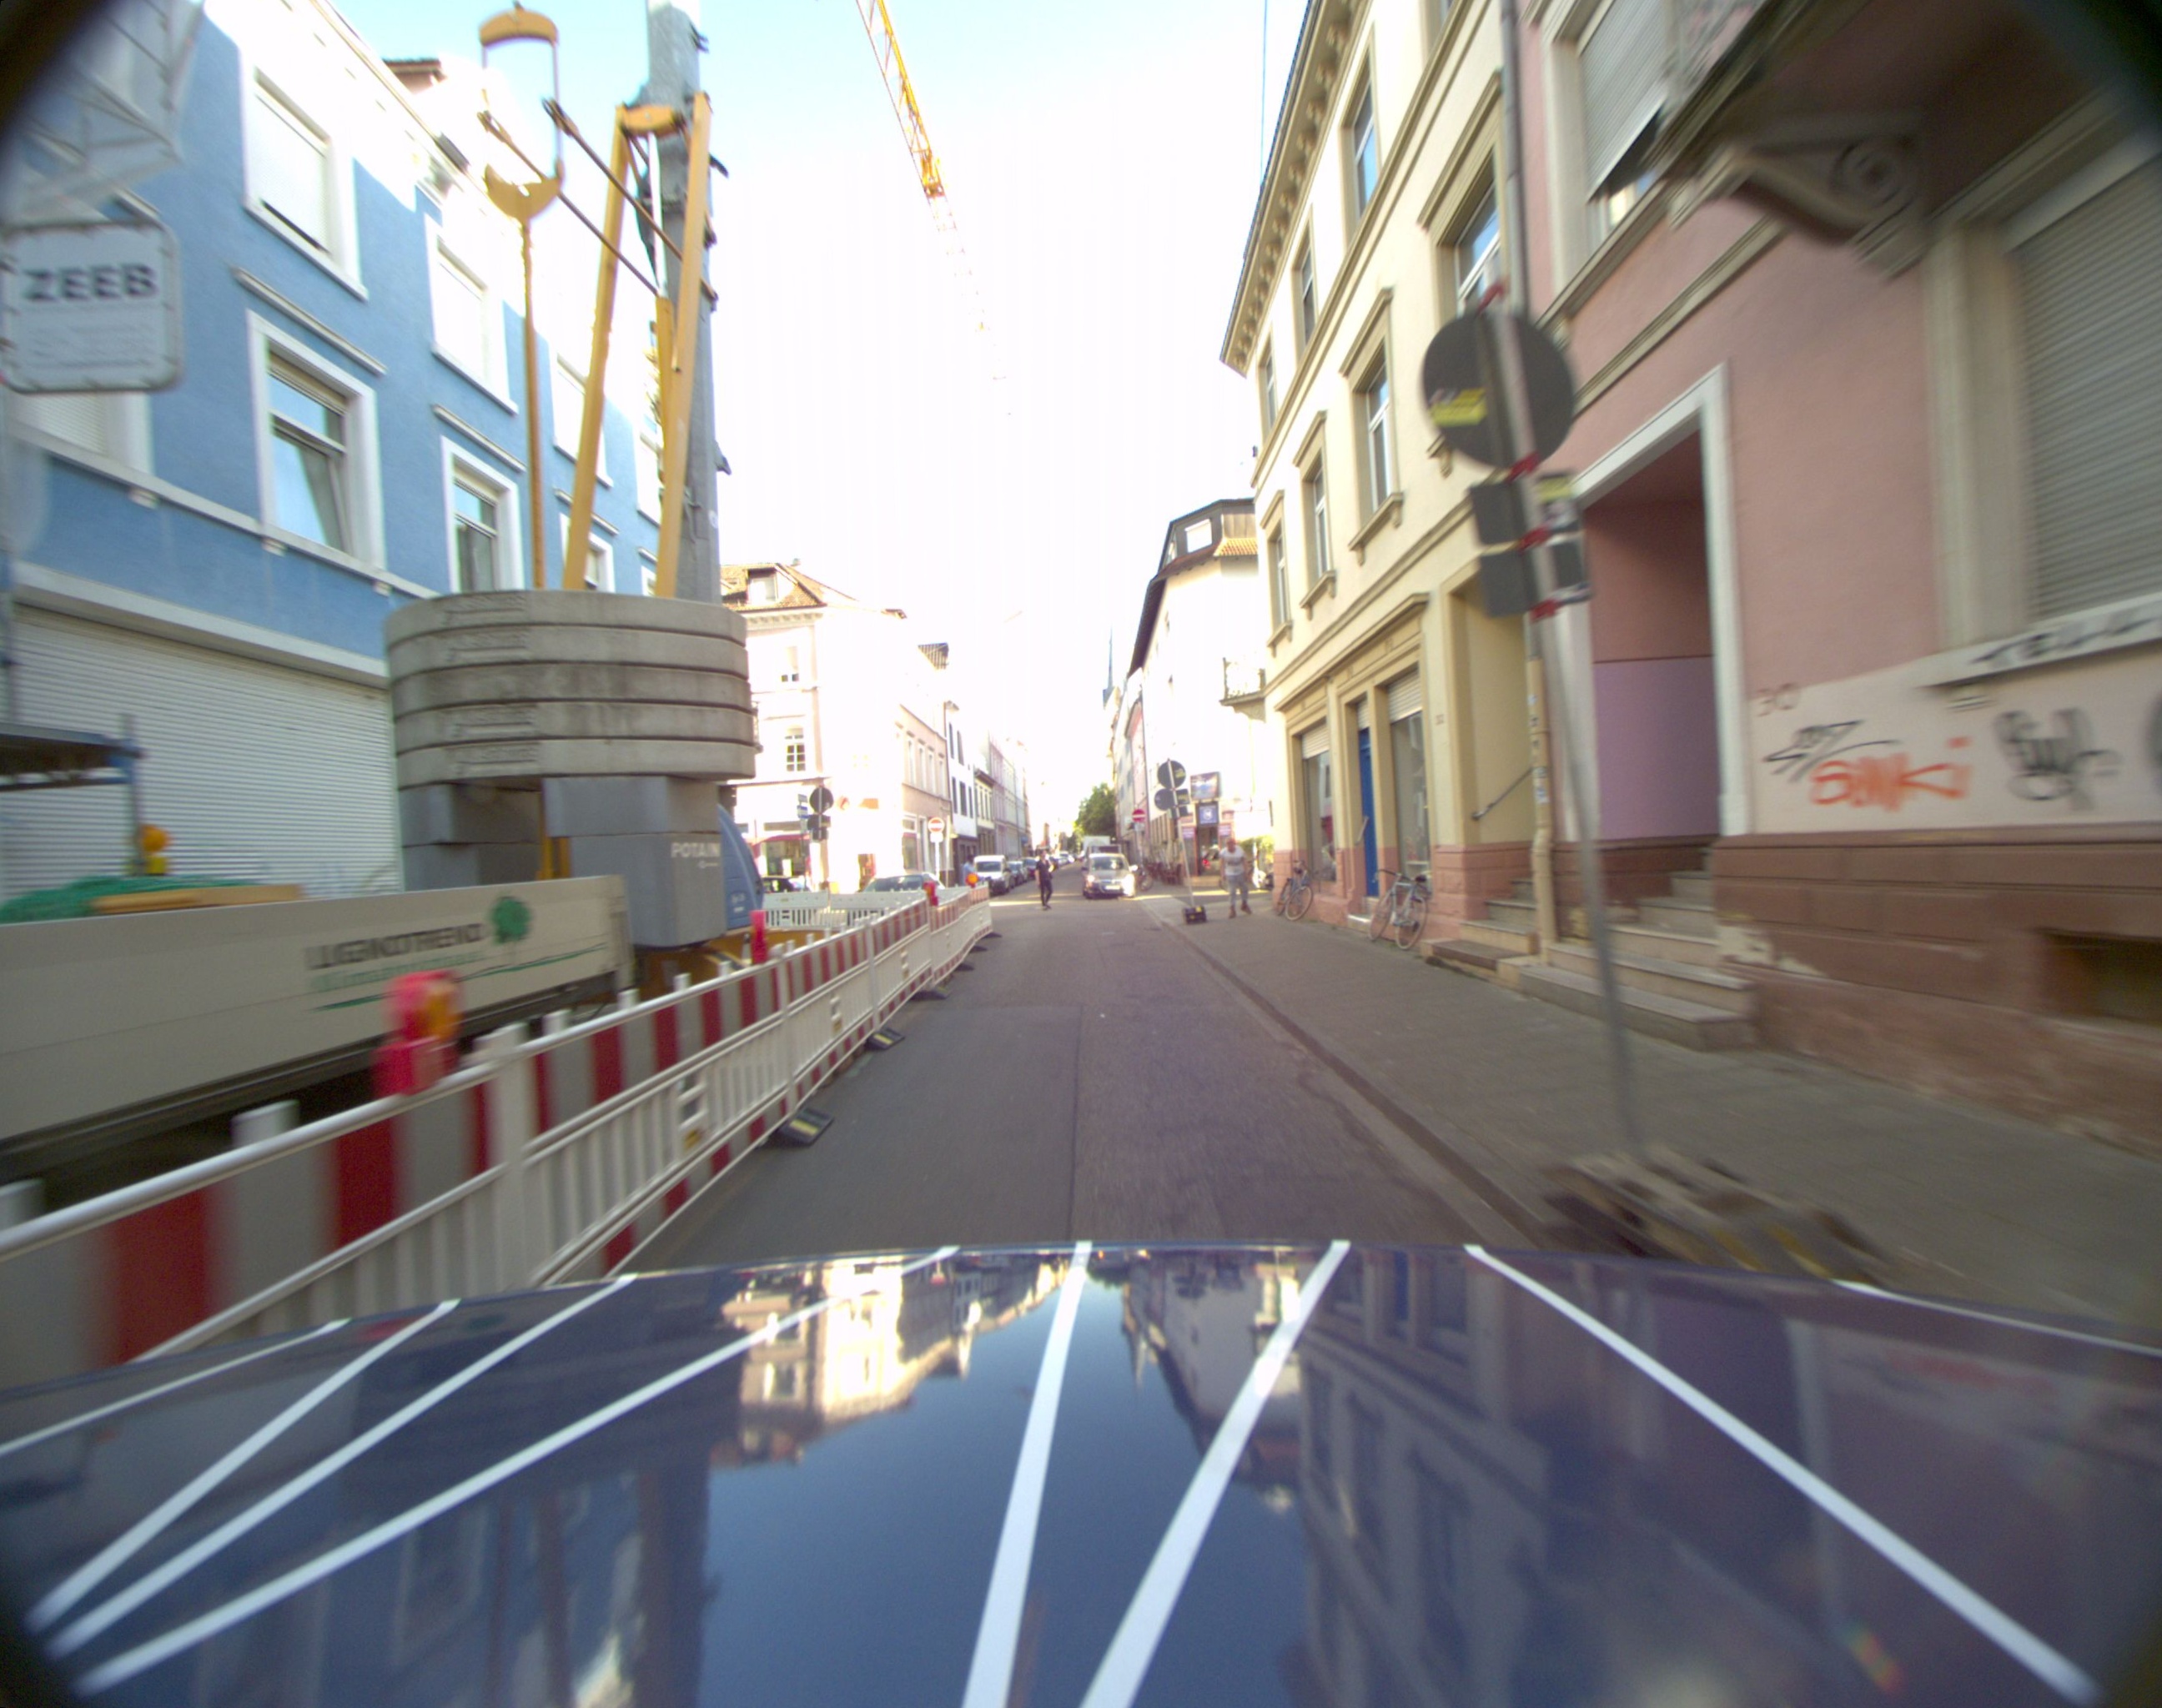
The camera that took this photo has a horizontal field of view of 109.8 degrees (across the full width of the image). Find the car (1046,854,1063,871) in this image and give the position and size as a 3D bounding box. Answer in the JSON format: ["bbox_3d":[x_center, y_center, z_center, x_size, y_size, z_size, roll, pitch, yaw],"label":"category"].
[{"bbox_3d":[-3.516,1.085,99.884,1.999,2.002,4.563,-5,1,-2],"label":"car"}]

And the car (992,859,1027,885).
[{"bbox_3d":[-4.352,1.089,46.902,1.736,1.388,3.881,-2,1,0],"label":"car"}]

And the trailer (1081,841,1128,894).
[{"bbox_3d":[0.930,0.529,32.299,1.666,2.049,4.362,-2,1,-2],"label":"trailer"}]

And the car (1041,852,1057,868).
[{"bbox_3d":[-3.841,0.677,91.106,1.713,1.802,4.220,-2,1,0],"label":"car"}]

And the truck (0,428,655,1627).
[{"bbox_3d":[-3.901,0.469,0.558,2.668,2.798,7.392,-5,1,1],"label":"truck"}]

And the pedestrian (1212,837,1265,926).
[{"bbox_3d":[3.200,0.554,15.506,0.695,1.691,0.865,-8,-1,1],"label":"pedestrian"}]

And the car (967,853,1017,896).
[{"bbox_3d":[-4.133,0.926,35.968,1.753,1.806,4.369,-2,1,0],"label":"car"}]

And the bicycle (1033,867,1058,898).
[{"bbox_3d":[-1.385,1.099,29.868,0.710,1.105,1.935,-3,0,3],"label":"bicycle"}]

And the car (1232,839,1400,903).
[{"bbox_3d":[6.587,0.466,21.568,4.150,1.447,1.758,-4,0,-2],"label":"car"}]

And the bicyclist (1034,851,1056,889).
[{"bbox_3d":[-1.405,0.627,29.846,0.710,1.427,0.790,-3,1,3],"label":"bicyclist"}]

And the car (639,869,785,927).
[{"bbox_3d":[-12.888,1.519,26.727,4.069,1.623,1.855,-4,3,1],"label":"car"}]

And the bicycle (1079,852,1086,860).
[{"bbox_3d":[0.283,0.483,163.049,1.020,1.641,3.546,-5,1,-4],"label":"bicycle"}]

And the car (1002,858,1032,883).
[{"bbox_3d":[-4.319,1.074,51.498,1.620,1.495,3.772,-2,1,0],"label":"car"}]

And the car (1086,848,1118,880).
[{"bbox_3d":[1.272,0.597,47.827,1.807,1.834,4.243,-3,1,0],"label":"car"}]

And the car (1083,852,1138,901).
[{"bbox_3d":[1.003,0.763,27.808,1.726,1.596,4.166,-2,0,-1],"label":"car"}]

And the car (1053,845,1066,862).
[{"bbox_3d":[-3.722,-0.092,130.080,1.999,2.777,4.562,-5,1,-3],"label":"car"}]

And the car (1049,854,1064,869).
[{"bbox_3d":[-3.588,1.056,112.546,1.999,2.002,4.562,-5,1,-3],"label":"car"}]

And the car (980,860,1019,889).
[{"bbox_3d":[-4.346,1.080,41.023,1.613,1.400,3.881,-2,1,0],"label":"car"}]

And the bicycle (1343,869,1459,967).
[{"bbox_3d":[3.897,0.736,9.413,0.623,1.016,1.818,-5,0,1],"label":"bicycle"}]

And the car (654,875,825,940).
[{"bbox_3d":[-9.390,1.445,21.104,3.877,1.445,1.677,-4,0,1],"label":"car"}]

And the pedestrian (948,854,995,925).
[{"bbox_3d":[-2.938,0.946,20.400,0.770,1.839,0.781,-4,1,29],"label":"pedestrian"}]

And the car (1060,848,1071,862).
[{"bbox_3d":[-3.197,0.166,156.157,1.999,2.777,4.562,-5,1,-3],"label":"car"}]

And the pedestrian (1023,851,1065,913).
[{"bbox_3d":[-1.107,0.808,22.561,0.830,1.782,0.987,-1,1,-32],"label":"pedestrian"}]

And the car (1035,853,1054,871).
[{"bbox_3d":[-3.767,0.818,79.042,1.713,1.721,4.220,-2,1,0],"label":"car"}]

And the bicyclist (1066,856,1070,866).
[{"bbox_3d":[-2.361,1.255,139.352,0.716,1.650,0.877,-5,1,-2],"label":"bicyclist"}]

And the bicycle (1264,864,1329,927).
[{"bbox_3d":[3.942,0.733,14.017,0.605,1.016,1.818,-7,-1,1],"label":"bicycle"}]

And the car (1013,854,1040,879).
[{"bbox_3d":[-4.185,0.946,59.345,1.713,1.721,4.407,-2,1,0],"label":"car"}]

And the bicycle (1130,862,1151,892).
[{"bbox_3d":[2.426,0.909,31.091,0.578,1.132,1.460,-5,1,-5],"label":"bicycle"}]

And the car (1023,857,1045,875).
[{"bbox_3d":[-4.112,1.058,67.222,1.613,1.388,3.881,-2,1,0],"label":"car"}]

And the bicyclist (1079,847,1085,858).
[{"bbox_3d":[0.222,-0.242,163.014,1.020,2.280,1.531,-5,1,-4],"label":"bicyclist"}]

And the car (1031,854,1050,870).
[{"bbox_3d":[-3.923,0.790,73.721,1.613,1.444,3.881,-2,1,0],"label":"car"}]

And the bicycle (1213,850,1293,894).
[{"bbox_3d":[5.899,0.619,26.190,2.481,1.351,0.928,-3,1,1],"label":"bicycle"}]

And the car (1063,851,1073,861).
[{"bbox_3d":[-2.801,0.387,164.888,1.999,2.002,4.562,-5,1,-3],"label":"car"}]

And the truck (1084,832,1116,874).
[{"bbox_3d":[1.570,-0.102,62.114,2.296,3.165,7.044,-3,1,2],"label":"truck"}]

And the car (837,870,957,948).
[{"bbox_3d":[-4.233,1.223,18.165,1.776,1.426,4.033,-4,0,0],"label":"car"}]

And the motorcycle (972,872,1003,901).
[{"bbox_3d":[-3.978,1.378,32.364,0.720,1.080,1.997,1,2,11],"label":"motorcycle"}]
